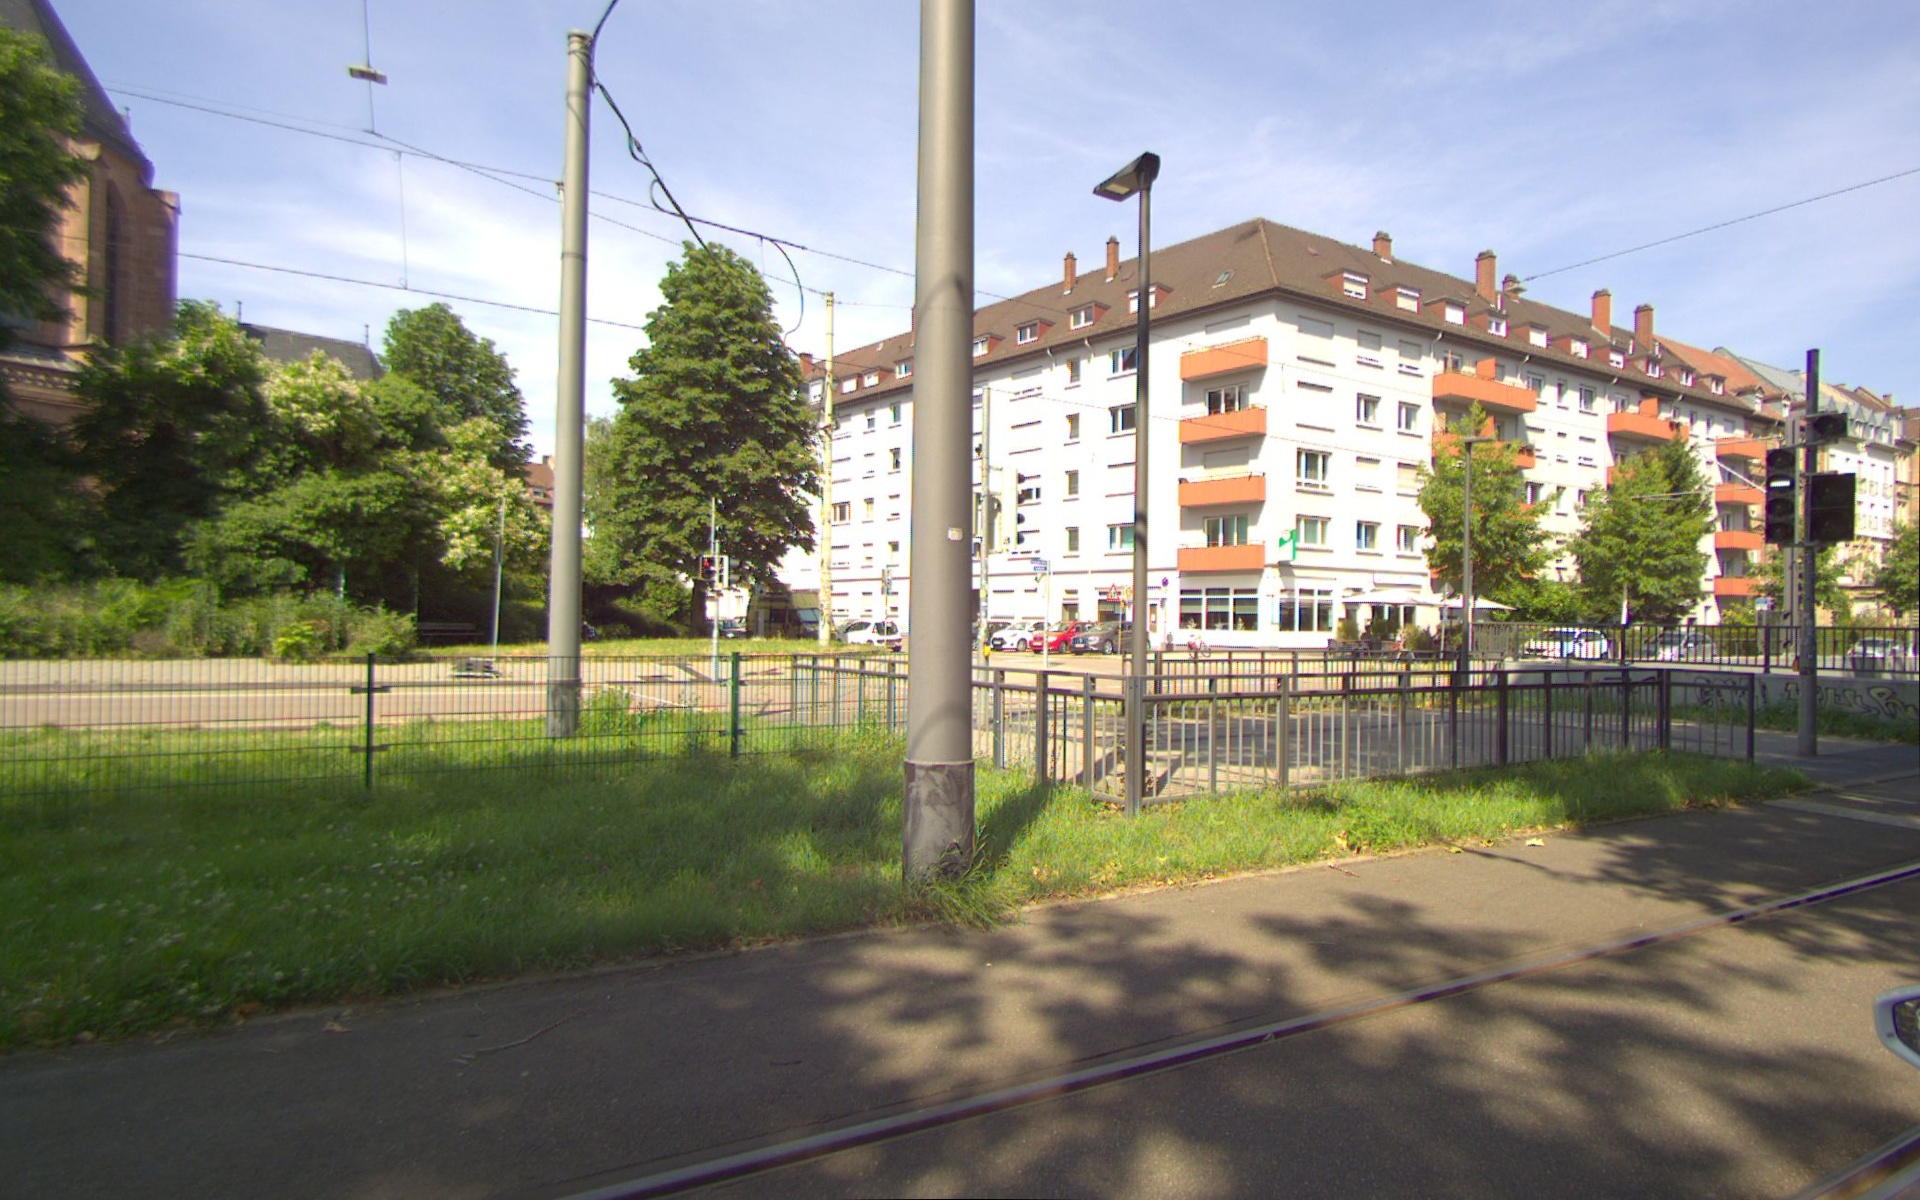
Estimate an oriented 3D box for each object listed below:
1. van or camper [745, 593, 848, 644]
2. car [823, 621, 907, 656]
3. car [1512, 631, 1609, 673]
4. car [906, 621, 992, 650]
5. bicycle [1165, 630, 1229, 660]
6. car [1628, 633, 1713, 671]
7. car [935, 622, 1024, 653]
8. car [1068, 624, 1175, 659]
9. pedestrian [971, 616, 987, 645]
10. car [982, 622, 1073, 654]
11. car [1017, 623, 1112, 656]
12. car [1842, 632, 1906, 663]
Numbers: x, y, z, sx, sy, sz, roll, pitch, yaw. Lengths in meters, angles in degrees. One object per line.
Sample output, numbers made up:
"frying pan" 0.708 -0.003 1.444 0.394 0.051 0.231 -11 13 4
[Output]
"van or camper" -8.080 0.884 49.284 2.228 2.360 5.704 2 -1 -42
"car" -4.273 1.696 44.882 3.702 1.425 1.823 0 -2 44
"car" 22.829 1.964 38.139 3.961 1.518 1.759 2 -3 -36
"car" -0.560 1.823 51.807 4.129 1.425 1.918 2 -1 -38
"bicycle" 9.705 1.840 41.135 2.779 1.152 0.905 2 -1 -34
"car" 30.024 2.170 42.427 3.961 1.518 1.759 2 -3 -36
"car" 0.968 1.848 49.501 4.129 1.425 1.918 2 -1 -38
"car" 6.950 1.758 43.009 4.598 1.394 1.821 2 -1 -36
"pedestrian" 1.041 1.647 54.267 0.679 1.593 0.544 0 -1 37
"car" 3.254 1.803 47.930 4.129 1.425 1.918 2 -1 -38
"car" 4.790 1.775 45.609 4.129 1.425 1.918 2 -1 -38
"car" 48.432 2.506 53.227 3.961 1.518 1.758 2 -1 -36
